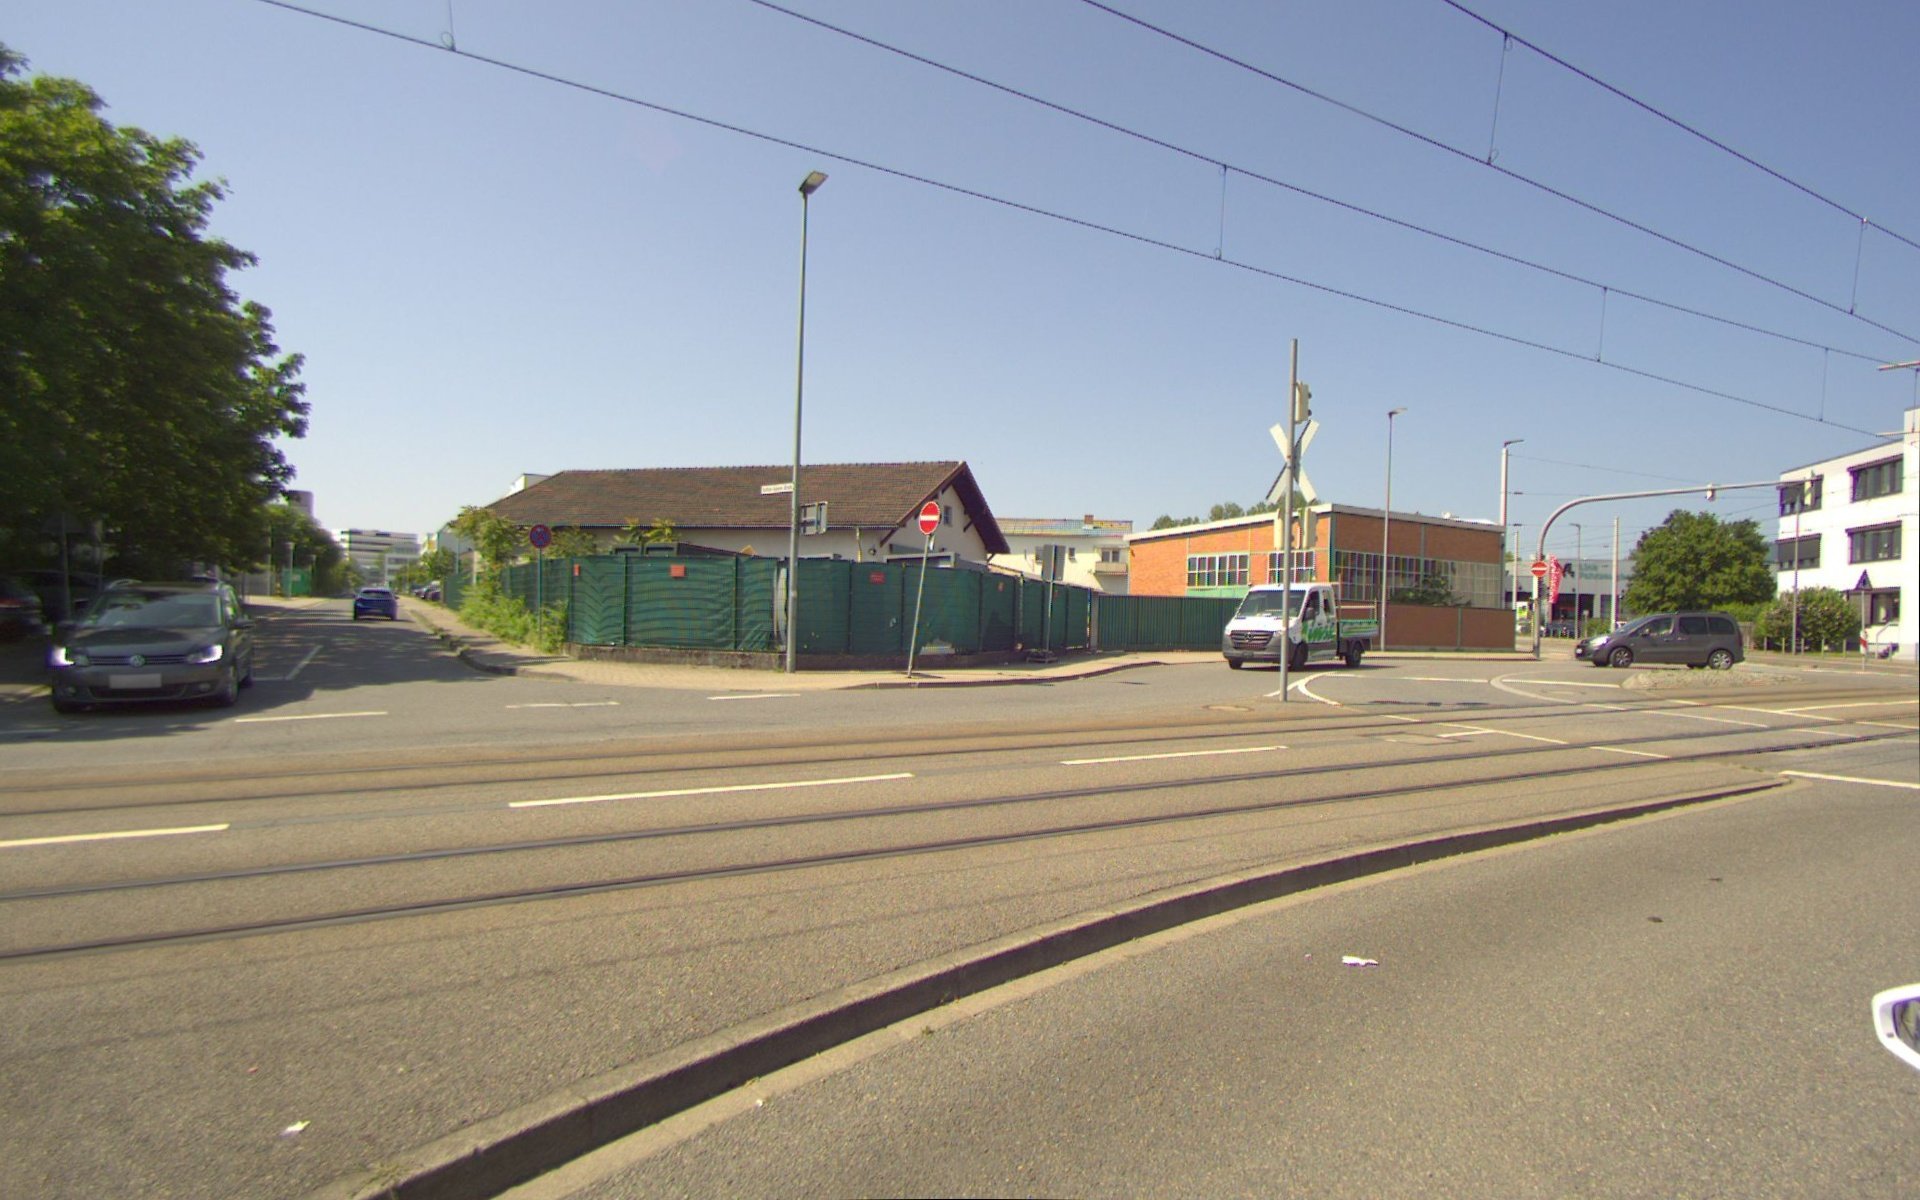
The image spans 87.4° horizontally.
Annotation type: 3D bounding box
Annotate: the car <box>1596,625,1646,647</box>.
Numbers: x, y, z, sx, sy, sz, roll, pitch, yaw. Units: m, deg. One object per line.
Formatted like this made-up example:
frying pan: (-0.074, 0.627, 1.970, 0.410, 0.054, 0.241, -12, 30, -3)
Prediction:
car: (52.479, 2.857, 79.884, 1.959, 1.683, 4.003, 0, -2, 12)

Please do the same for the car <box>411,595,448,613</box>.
car: (-64.766, 0.521, 122.595, 3.953, 2.040, 1.984, 1, -1, -30)

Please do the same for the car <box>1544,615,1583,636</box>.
car: (56.419, 2.412, 93.968, 1.959, 1.806, 4.003, 0, -2, 12)

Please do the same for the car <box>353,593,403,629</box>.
car: (-26.780, 0.519, 46.307, 1.784, 1.557, 4.132, 1, -1, -28)

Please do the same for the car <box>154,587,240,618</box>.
car: (-42.779, 0.145, 56.391, 3.654, 1.628, 1.560, 1, -1, -32)

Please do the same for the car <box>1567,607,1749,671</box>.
car: (22.057, 1.198, 31.935, 4.321, 1.842, 1.990, 1, -1, 17)

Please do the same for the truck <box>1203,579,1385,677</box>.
truck: (9.272, 0.744, 27.481, 2.179, 2.368, 6.350, 1, -1, 44)

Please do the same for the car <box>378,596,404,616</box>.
car: (-46.655, 0.501, 82.312, 1.785, 1.623, 3.968, 1, -1, -30)

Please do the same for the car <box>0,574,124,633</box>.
car: (-27.157, 0.109, 29.519, 3.830, 1.659, 1.609, 1, -1, -37)

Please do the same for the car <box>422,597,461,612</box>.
car: (-52.237, 0.476, 101.167, 3.392, 1.445, 1.340, 1, -1, -30)

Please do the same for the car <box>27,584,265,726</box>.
car: (-10.943, 0.620, 13.836, 1.911, 1.604, 4.157, 1, 1, -31)

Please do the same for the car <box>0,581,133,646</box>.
car: (-22.297, 0.324, 23.824, 1.599, 1.486, 3.854, 1, -1, 36)
